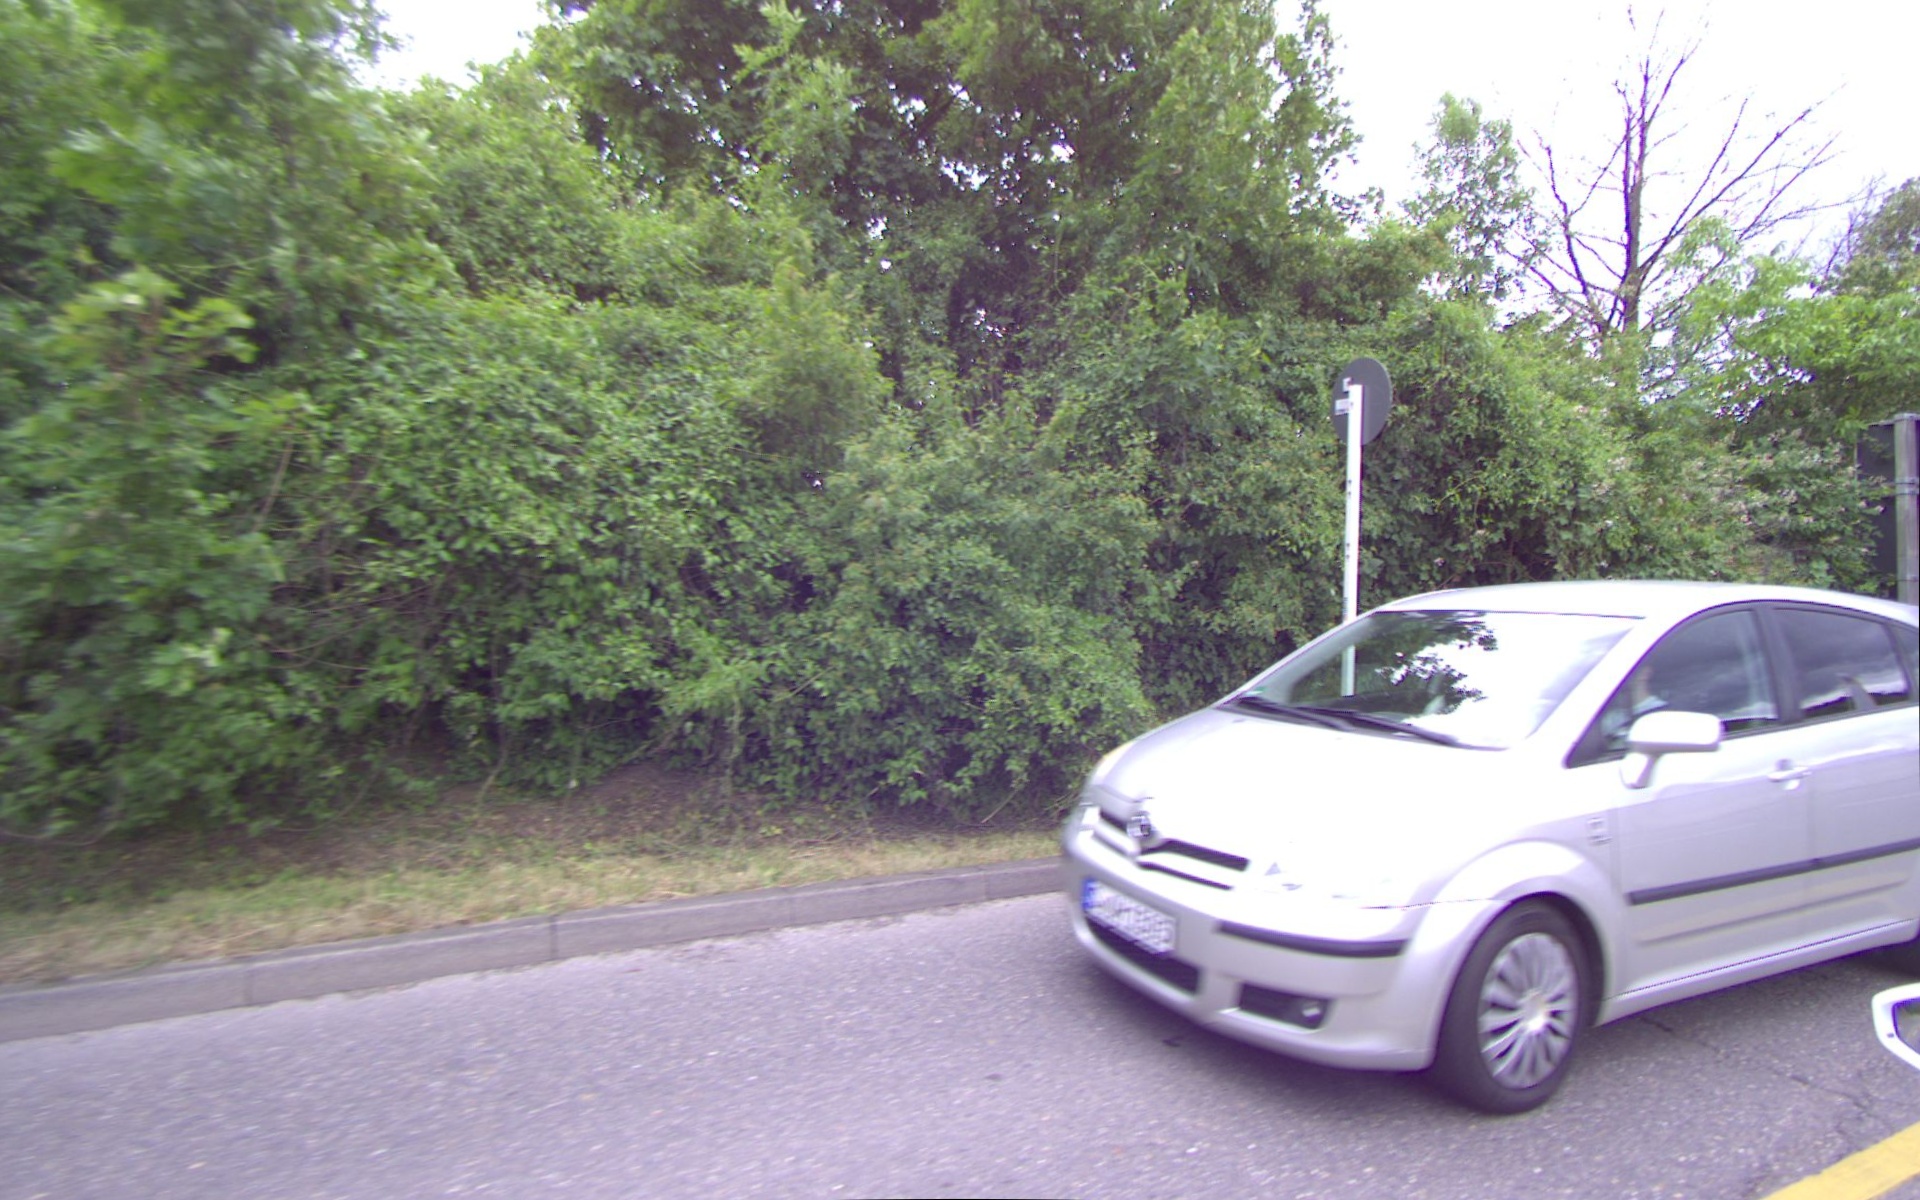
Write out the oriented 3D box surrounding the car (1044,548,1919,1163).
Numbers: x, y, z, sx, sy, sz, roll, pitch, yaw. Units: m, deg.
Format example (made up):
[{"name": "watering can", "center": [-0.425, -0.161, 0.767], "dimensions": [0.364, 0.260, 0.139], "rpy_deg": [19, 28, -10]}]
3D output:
[{"name": "car", "center": [2.559, 0.686, 4.204], "dimensions": [4.130, 1.573, 1.651], "rpy_deg": [1, 0, -25]}]
